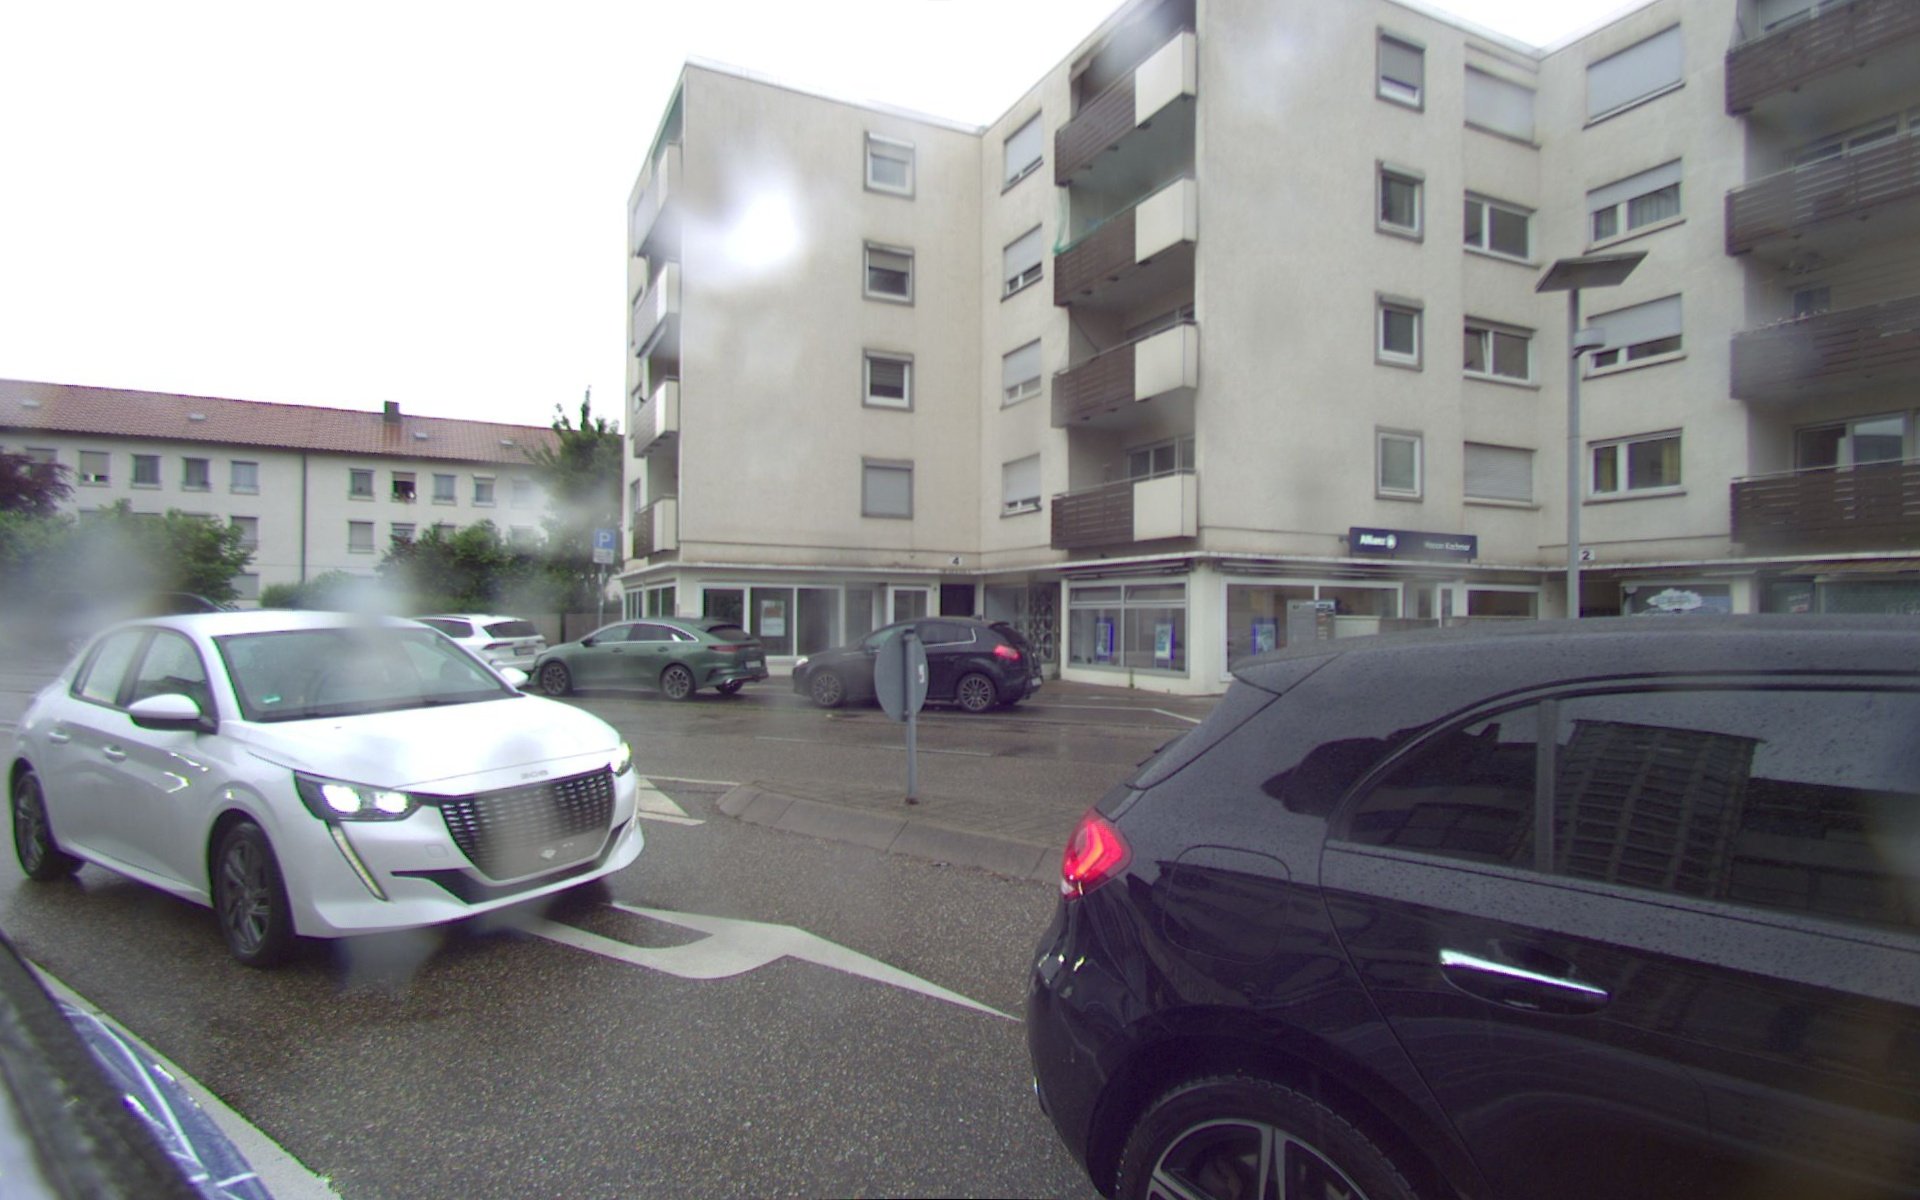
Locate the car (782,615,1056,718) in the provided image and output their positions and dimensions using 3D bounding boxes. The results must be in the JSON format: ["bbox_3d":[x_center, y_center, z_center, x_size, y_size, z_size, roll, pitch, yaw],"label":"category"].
[{"bbox_3d":[-0.651,1.015,16.639,4.156,1.471,1.825,0,0,20],"label":"car"}]

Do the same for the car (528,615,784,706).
[{"bbox_3d":[-5.544,1.035,18.528,4.241,1.445,1.826,0,0,19],"label":"car"}]

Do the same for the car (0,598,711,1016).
[{"bbox_3d":[-3.356,0.754,5.318,3.882,1.420,1.726,-1,1,31],"label":"car"}]

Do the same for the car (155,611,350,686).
[{"bbox_3d":[-15.630,1.023,22.372,3.852,1.517,1.623,0,-1,20],"label":"car"}]

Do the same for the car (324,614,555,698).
[{"bbox_3d":[-10.445,1.065,20.329,4.313,1.511,1.627,0,-1,20],"label":"car"}]

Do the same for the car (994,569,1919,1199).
[{"bbox_3d":[2.172,0.684,1.314,4.090,1.492,1.646,-2,-1,40],"label":"car"}]
